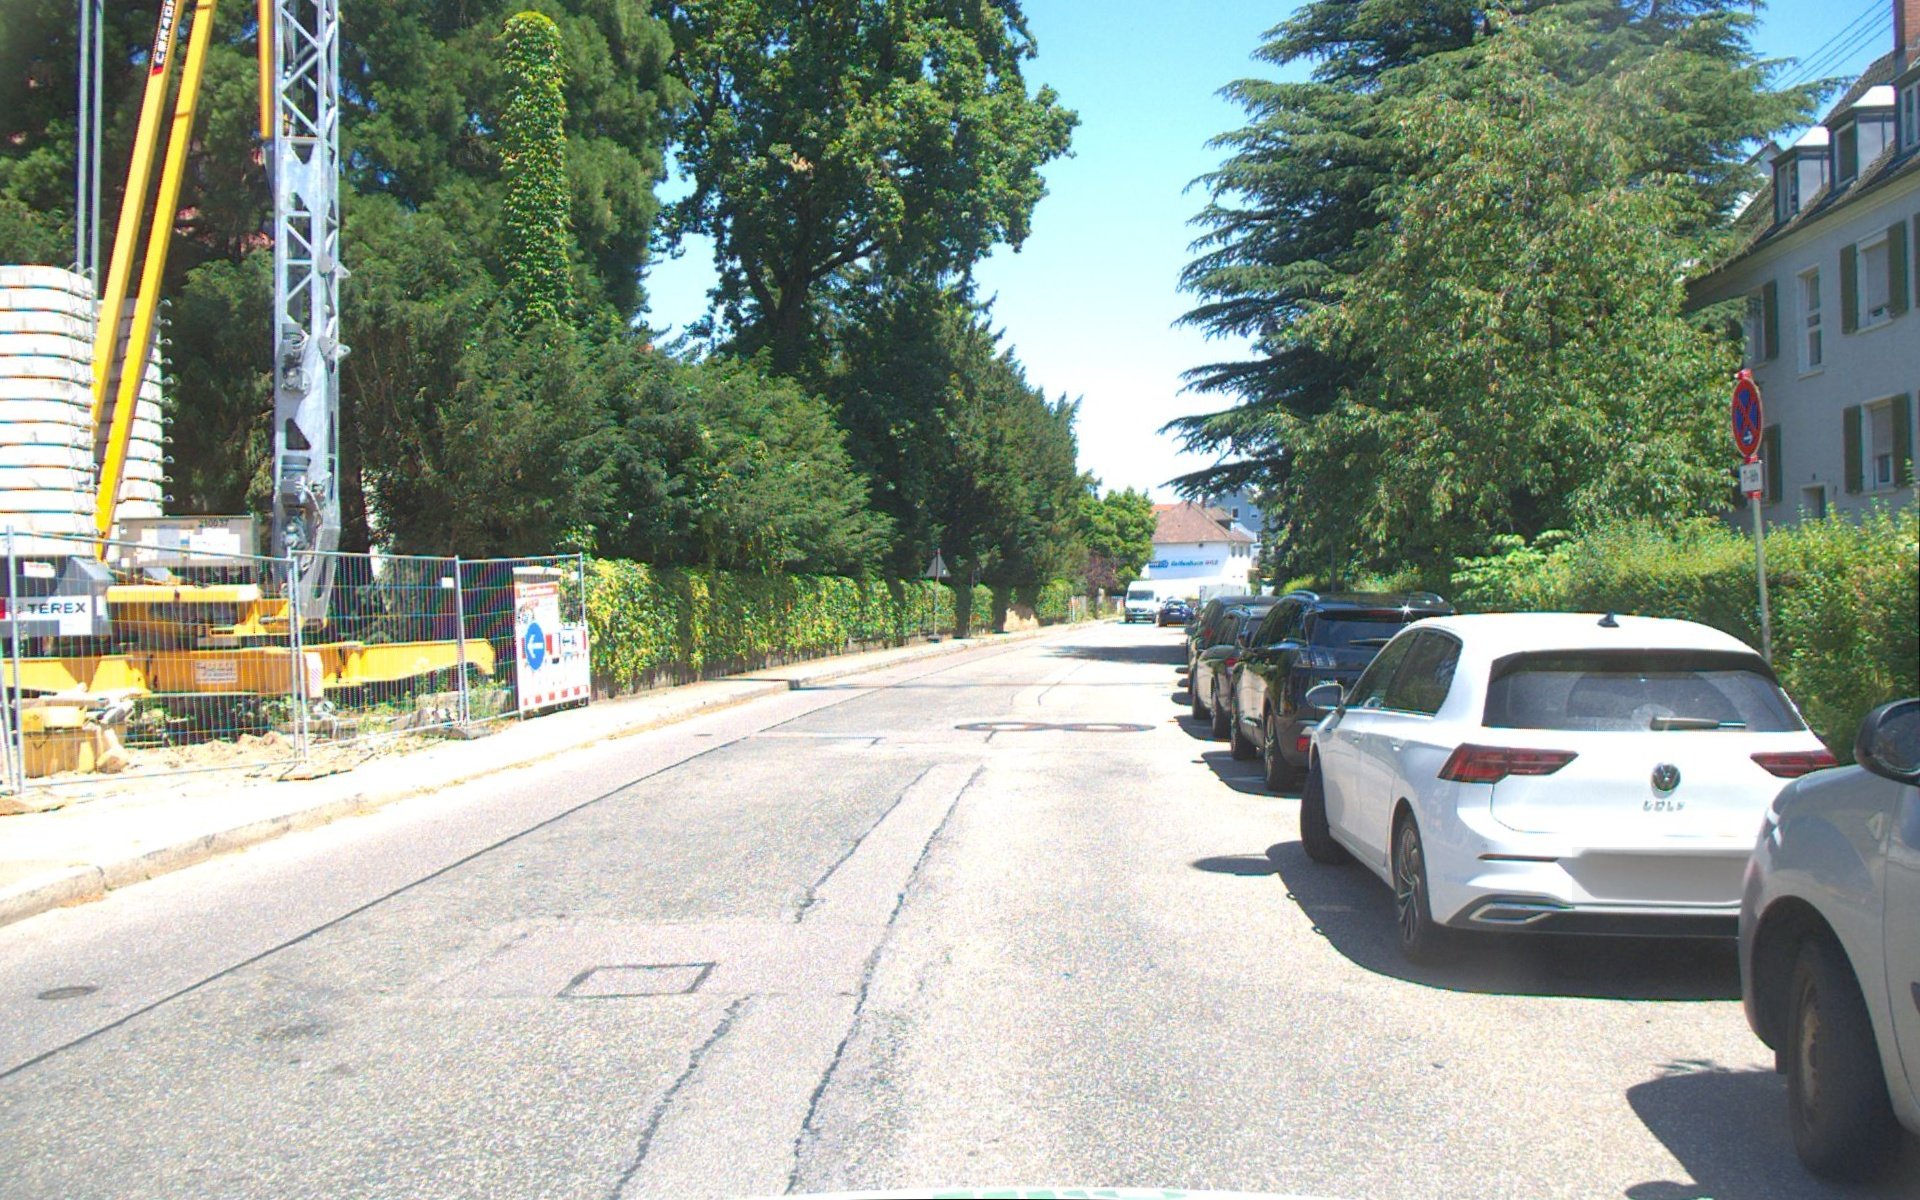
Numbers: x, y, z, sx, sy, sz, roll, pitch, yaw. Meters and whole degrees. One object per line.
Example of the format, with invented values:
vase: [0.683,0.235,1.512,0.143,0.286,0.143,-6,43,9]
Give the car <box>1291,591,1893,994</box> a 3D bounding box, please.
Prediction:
car: [2.786,0.726,8.290,1.627,1.460,4.130,2,0,3]

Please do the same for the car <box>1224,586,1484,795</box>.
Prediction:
car: [3.319,0.693,14.644,1.626,1.565,4.206,1,0,5]

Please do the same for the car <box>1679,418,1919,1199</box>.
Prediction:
car: [3.042,0.508,3.087,1.627,1.835,4.203,2,0,1]

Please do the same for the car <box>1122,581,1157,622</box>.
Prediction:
car: [11.477,0.097,105.360,1.951,2.577,5.899,0,0,9]

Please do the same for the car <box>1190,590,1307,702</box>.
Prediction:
car: [4.427,0.654,25.824,1.548,1.603,4.011,0,0,6]

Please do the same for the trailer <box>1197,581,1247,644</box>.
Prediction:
trailer: [9.098,0.405,57.624,1.644,2.104,3.711,1,1,8]

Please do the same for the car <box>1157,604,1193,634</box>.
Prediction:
car: [11.965,1.049,91.742,1.756,1.537,4.003,2,0,10]

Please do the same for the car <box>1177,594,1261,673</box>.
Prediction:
car: [5.526,0.689,35.667,1.580,1.539,4.067,2,0,7]

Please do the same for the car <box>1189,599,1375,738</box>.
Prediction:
car: [3.759,0.737,19.912,1.627,1.457,4.205,-1,0,3]
